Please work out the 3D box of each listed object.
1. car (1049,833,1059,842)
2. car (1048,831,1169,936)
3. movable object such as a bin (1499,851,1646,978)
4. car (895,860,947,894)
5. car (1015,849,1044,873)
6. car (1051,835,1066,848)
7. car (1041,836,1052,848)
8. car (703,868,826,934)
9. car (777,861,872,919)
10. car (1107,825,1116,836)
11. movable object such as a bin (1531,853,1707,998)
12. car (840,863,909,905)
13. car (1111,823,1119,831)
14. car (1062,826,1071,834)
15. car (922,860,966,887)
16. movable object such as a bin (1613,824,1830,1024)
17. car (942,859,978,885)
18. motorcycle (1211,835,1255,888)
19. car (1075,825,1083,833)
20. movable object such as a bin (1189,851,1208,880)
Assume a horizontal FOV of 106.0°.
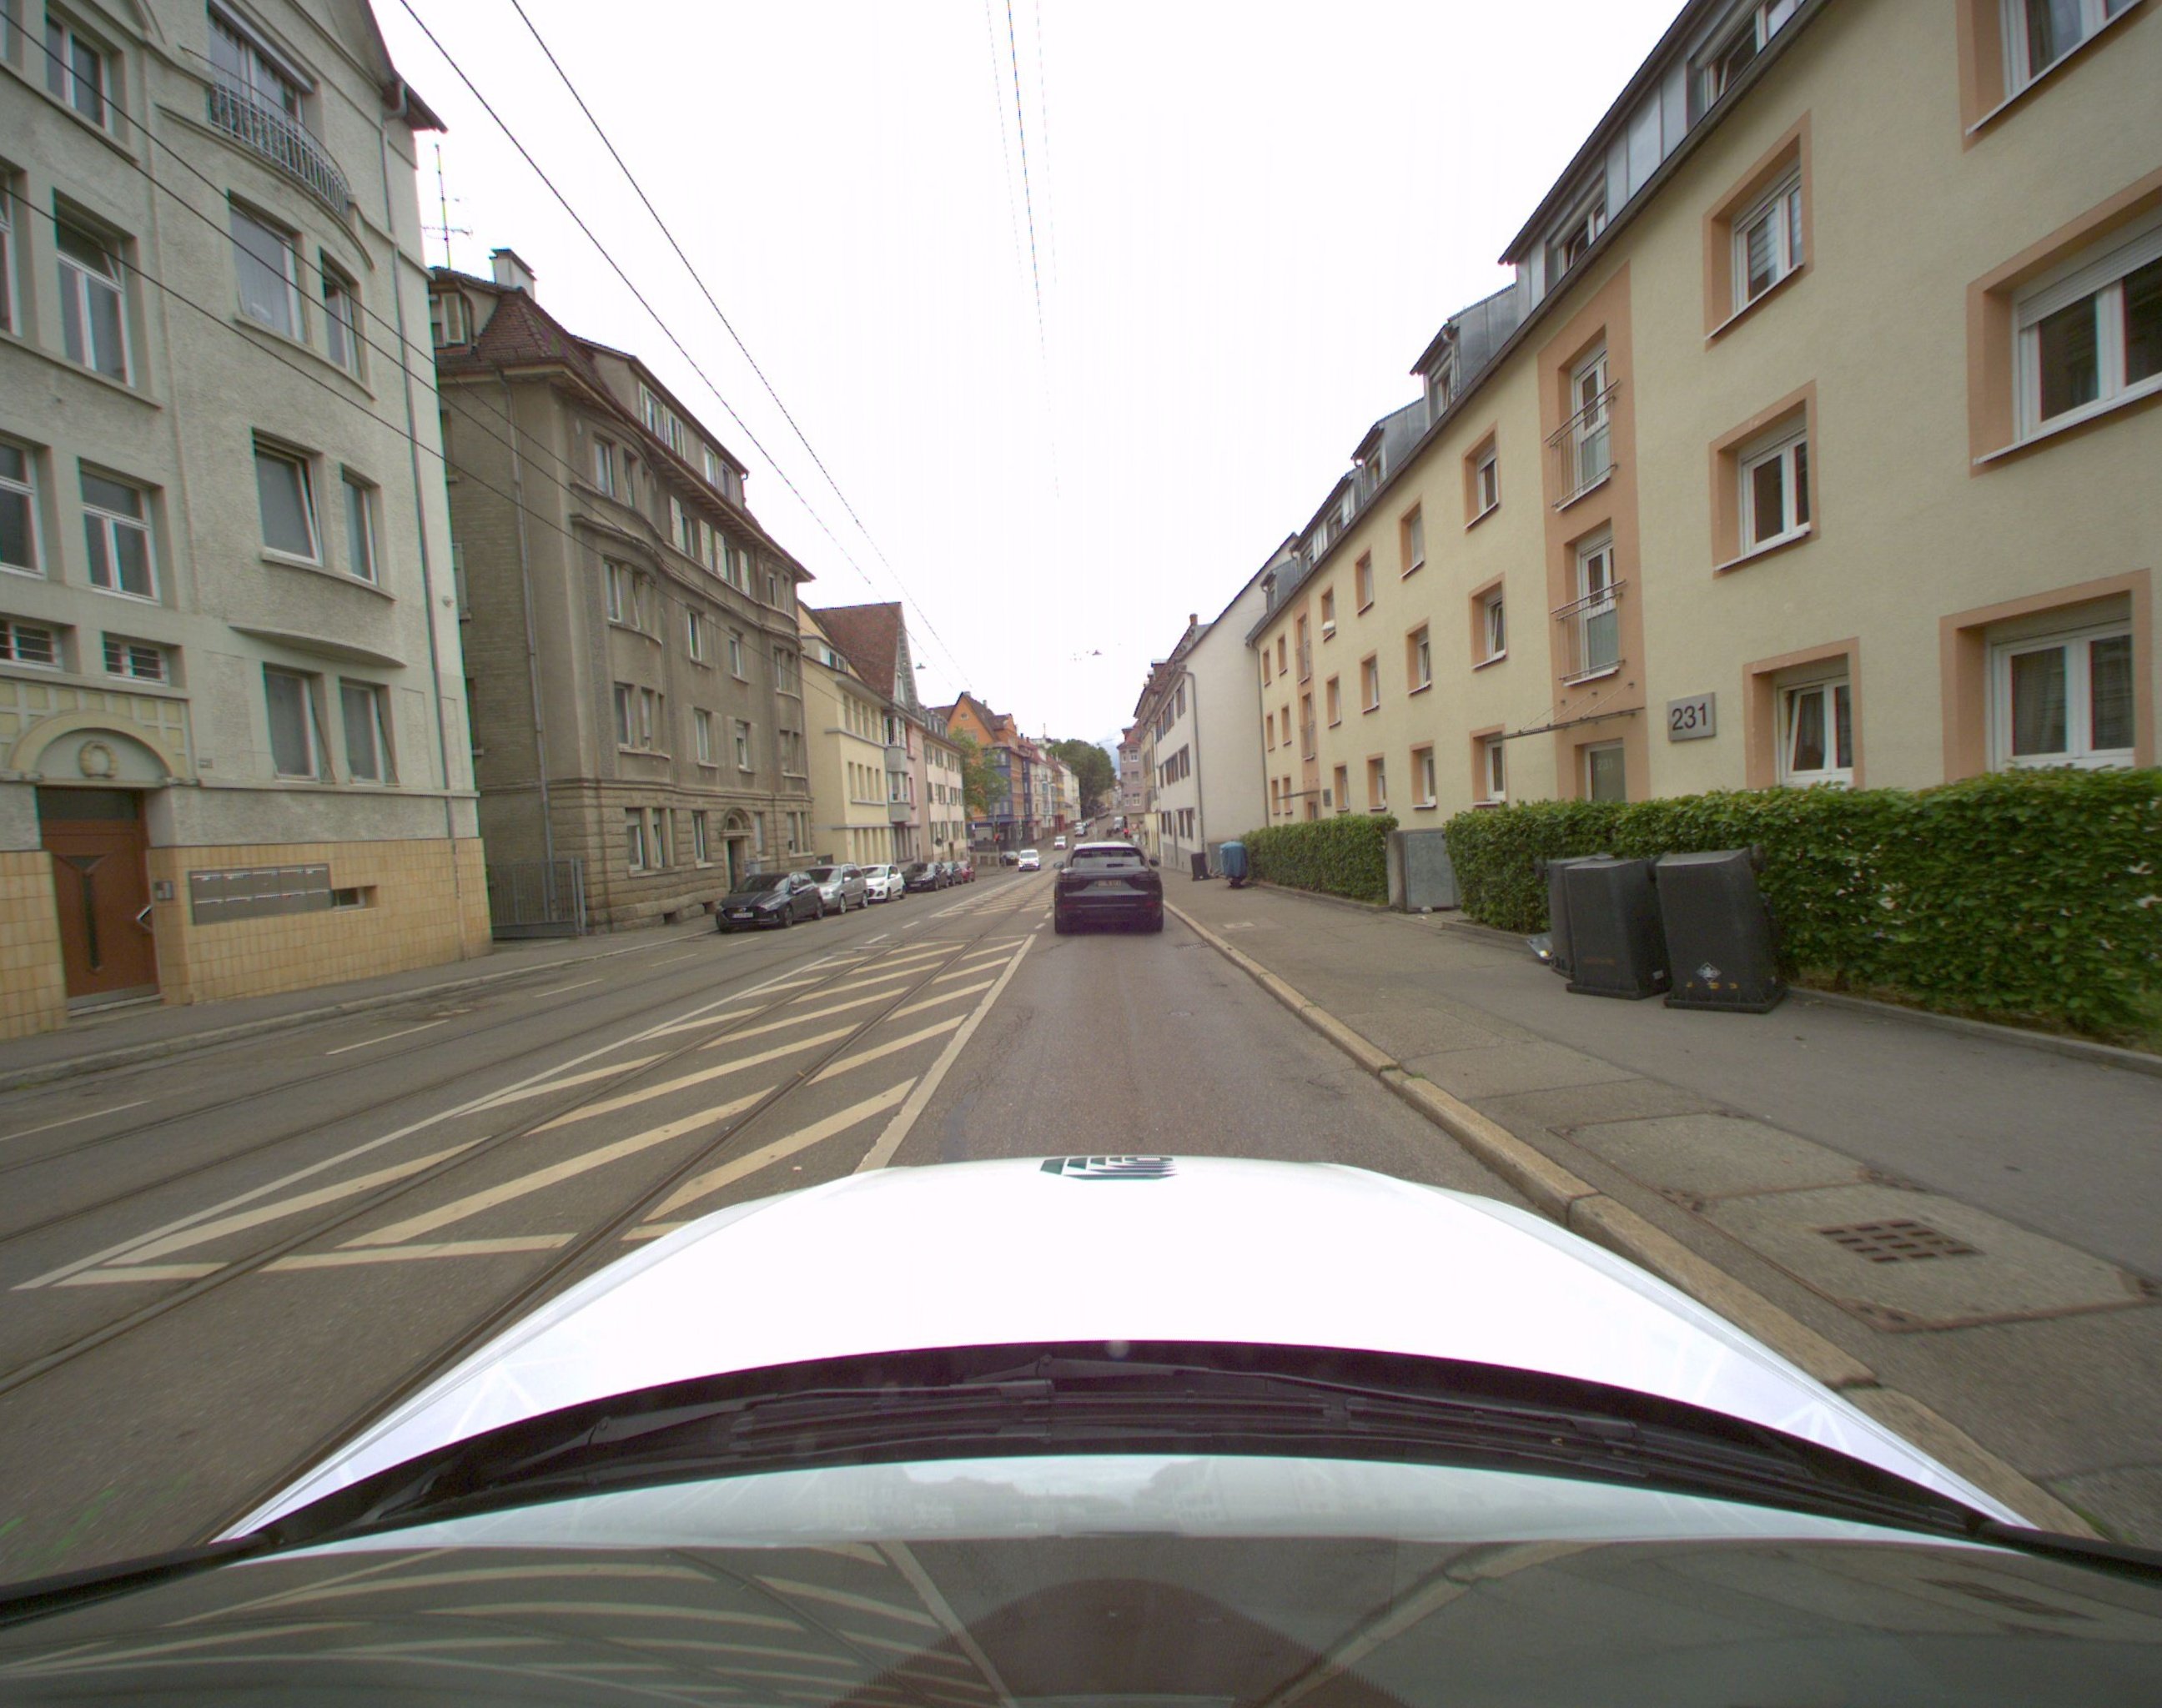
[{"bbox_3d":[-4.651,-2.820,138.810,1.389,1.450,3.360,-4,0,2],"label":"car"},{"bbox_3d":[0.502,0.505,15.982,1.987,1.676,4.000,-4,0,1],"label":"car"},{"bbox_3d":[4.310,0.508,7.209,0.788,1.012,0.790,-4,0,3],"label":"movable object such as a bin"},{"bbox_3d":[-7.915,1.107,40.737,1.616,1.473,4.554,-4,-1,0],"label":"car"},{"bbox_3d":[-4.350,0.580,69.199,1.913,1.818,4.220,-4,0,2],"label":"car"},{"bbox_3d":[-3.229,-1.762,116.896,1.744,1.759,4.255,-4,0,2],"label":"car"},{"bbox_3d":[-5.368,-1.867,125.944,1.389,1.722,3.360,-4,0,2],"label":"car"},{"bbox_3d":[-8.314,1.179,21.793,1.616,1.463,4.032,-4,-1,0],"label":"car"},{"bbox_3d":[-8.209,1.113,26.502,1.616,1.604,4.350,-4,-1,0],"label":"car"},{"bbox_3d":[5.142,-3.998,139.047,1.389,1.722,3.360,-4,0,2],"label":"car"},{"bbox_3d":[4.171,0.523,6.375,0.790,1.012,0.788,-4,0,-3],"label":"movable object such as a bin"},{"bbox_3d":[-8.125,1.153,32.330,1.615,1.463,3.686,-4,-1,1],"label":"car"},{"bbox_3d":[6.889,-5.424,164.736,1.389,1.450,3.360,-4,0,2],"label":"car"},{"bbox_3d":[-2.849,-4.757,159.982,1.389,1.450,3.360,-4,0,2],"label":"car"},{"bbox_3d":[-7.862,1.089,47.130,1.730,1.410,4.001,-4,0,1],"label":"car"},{"bbox_3d":[4.334,0.446,5.575,0.790,1.218,0.788,-4,0,-3],"label":"movable object such as a bin"},{"bbox_3d":[-7.739,1.141,52.414,1.616,1.490,4.046,-4,-1,0],"label":"car"},{"bbox_3d":[4.530,0.223,24.489,0.835,1.456,2.554,-4,0,2],"label":"motorcycle"},{"bbox_3d":[-0.435,-5.396,176.712,1.389,1.450,3.360,-4,0,2],"label":"car"},{"bbox_3d":[4.523,0.435,31.324,0.586,1.080,0.692,-4,0,3],"label":"movable object such as a bin"}]
